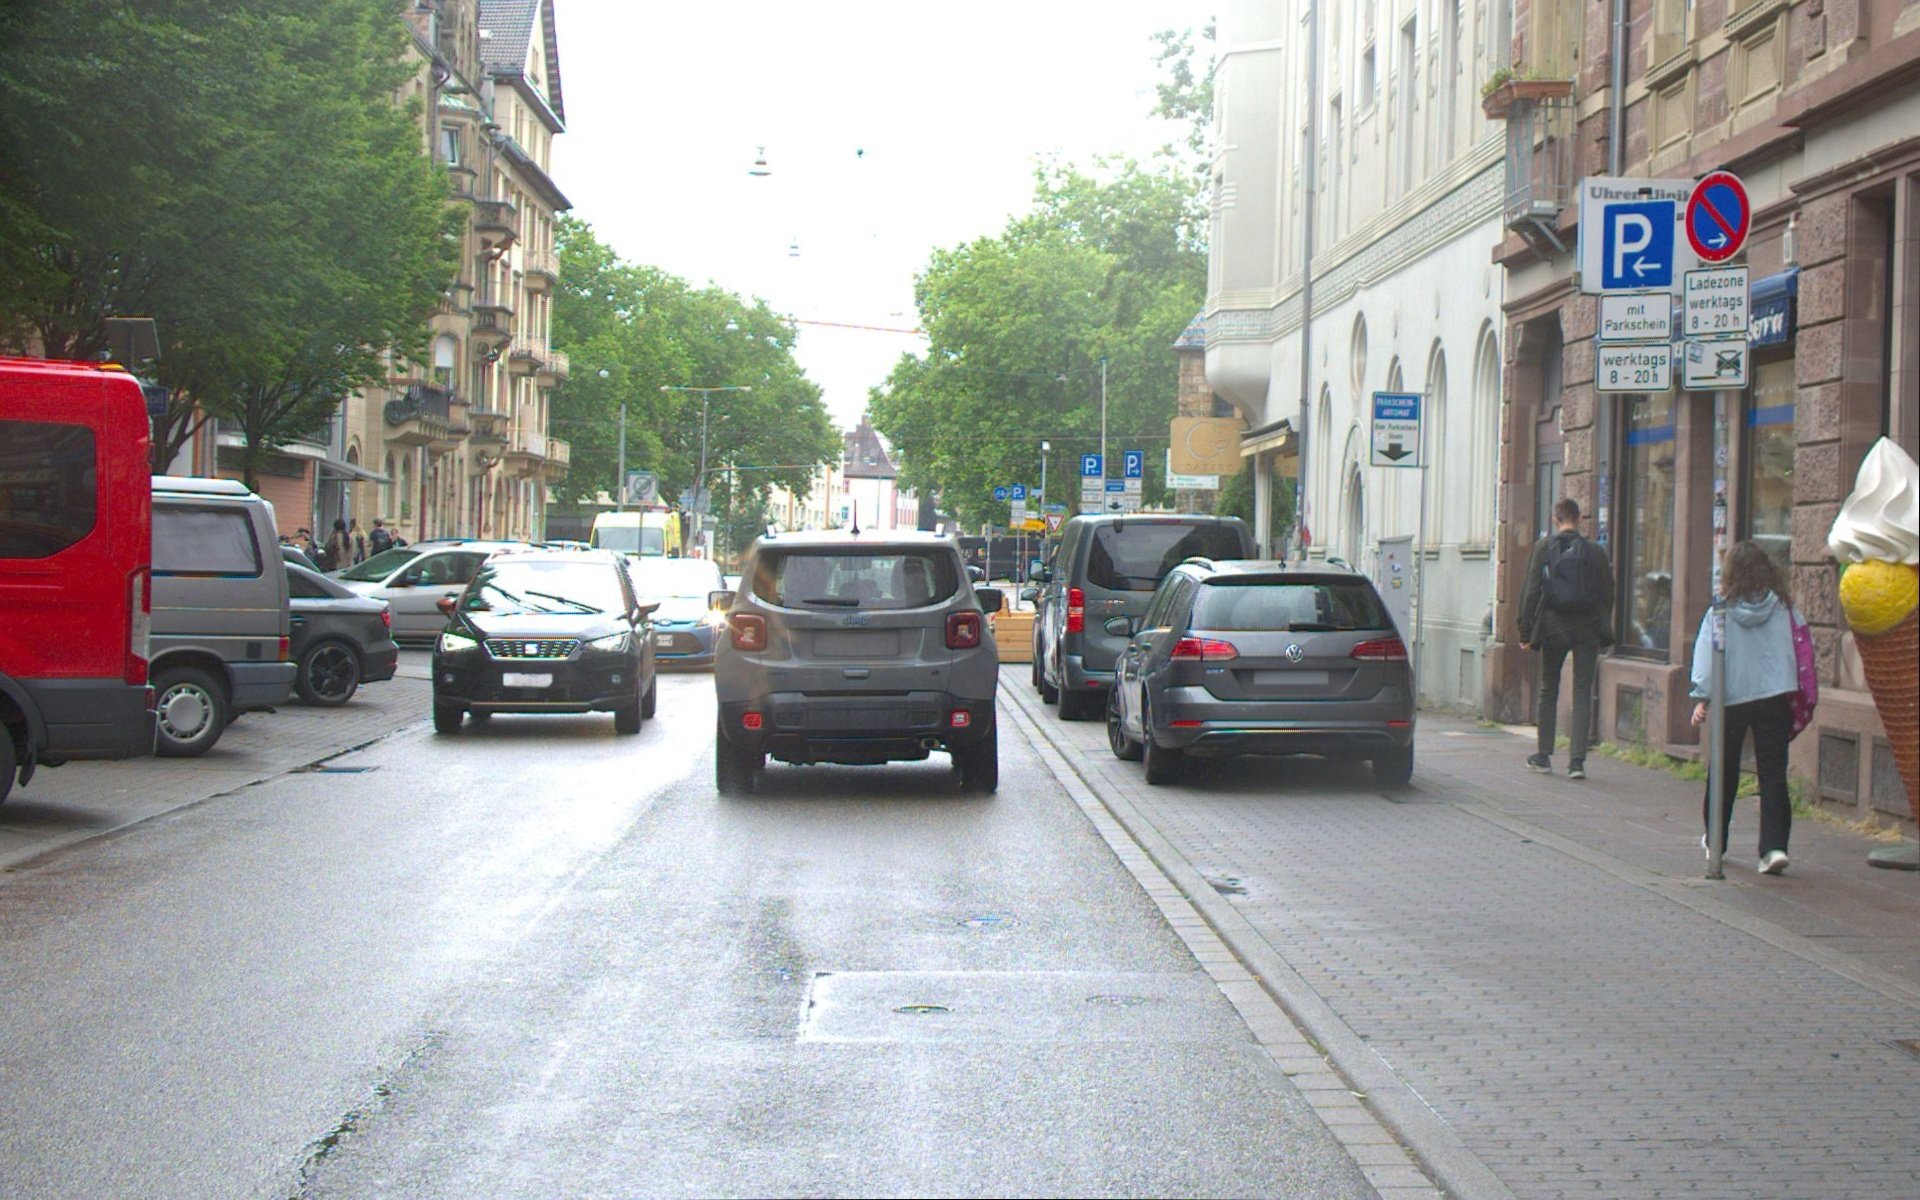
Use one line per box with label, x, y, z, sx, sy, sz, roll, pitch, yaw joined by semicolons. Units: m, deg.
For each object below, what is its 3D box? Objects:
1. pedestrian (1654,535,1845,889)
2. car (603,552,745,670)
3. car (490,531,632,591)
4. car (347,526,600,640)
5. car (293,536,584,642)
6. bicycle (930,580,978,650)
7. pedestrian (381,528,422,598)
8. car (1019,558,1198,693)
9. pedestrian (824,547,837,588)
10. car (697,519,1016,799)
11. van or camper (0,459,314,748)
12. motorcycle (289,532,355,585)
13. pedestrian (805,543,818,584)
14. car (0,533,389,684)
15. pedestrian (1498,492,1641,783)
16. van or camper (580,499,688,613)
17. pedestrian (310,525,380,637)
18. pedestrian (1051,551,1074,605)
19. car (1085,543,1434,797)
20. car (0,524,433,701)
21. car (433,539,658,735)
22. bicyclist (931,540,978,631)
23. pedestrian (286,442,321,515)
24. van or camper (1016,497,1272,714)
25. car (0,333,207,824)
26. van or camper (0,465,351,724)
pedestrian;3.689;0.507;16.117;0.679;1.608;0.810;1;1;-1
car;-3.738;0.113;45.413;1.669;1.460;4.004;1;1;-2
car;-11.721;-1.149;101.026;3.653;1.553;1.799;3;0;-37
car;-7.285;-0.256;51.543;3.375;1.648;1.634;0;1;-34
car;-7.368;-0.165;48.662;3.702;1.447;1.685;0;1;-36
bicycle;-0.100;0.221;53.925;0.705;1.050;1.813;1;1;-1
pedestrian;-12.863;-0.857;79.180;0.709;1.546;0.607;4;1;6
car;1.599;0.250;38.076;1.710;1.396;3.705;0;1;-2
pedestrian;-5.020;-1.259;133.210;0.467;1.580;0.752;1;1;-2
car;-0.712;0.333;23.042;1.898;1.665;4.506;1;1;-2
van or camper;-7.008;-0.006;24.183;4.434;1.968;1.781;2;1;-34
motorcycle;-15.049;-0.977;81.153;0.754;1.170;2.115;4;1;11
pedestrian;-5.700;-1.408;131.751;0.467;1.580;0.752;1;1;-2
car;-7.673;0.070;34.547;3.471;1.430;1.650;0;1;-43
pedestrian;4.139;0.237;23.320;0.680;1.927;0.808;1;1;34
van or camper;-8.043;-1.039;85.318;2.121;2.522;6.875;-2;-1;-1
pedestrian;-9.979;-0.307;55.796;0.825;1.746;0.757;4;1;6
pedestrian;3.257;-0.689;109.333;0.690;1.705;0.684;1;1;-1
car;1.930;0.410;23.302;1.841;1.540;4.004;1;1;-2
car;-7.093;0.121;31.862;3.967;1.442;1.767;3;1;-41
car;-3.543;0.278;29.933;1.669;1.554;4.004;2;1;-3
bicyclist;-0.090;-0.238;53.920;0.705;1.399;1.171;1;1;-1
pedestrian;-16.056;-2.963;84.087;0.660;1.751;0.797;0;1;-25
van or camper;1.663;0.011;32.735;2.021;1.884;5.055;0;1;-2
car;-7.011;-0.194;17.905;5.554;2.532;2.229;2;1;-28
van or camper;-7.584;-0.102;27.577;4.684;1.946;2.336;3;1;-42
